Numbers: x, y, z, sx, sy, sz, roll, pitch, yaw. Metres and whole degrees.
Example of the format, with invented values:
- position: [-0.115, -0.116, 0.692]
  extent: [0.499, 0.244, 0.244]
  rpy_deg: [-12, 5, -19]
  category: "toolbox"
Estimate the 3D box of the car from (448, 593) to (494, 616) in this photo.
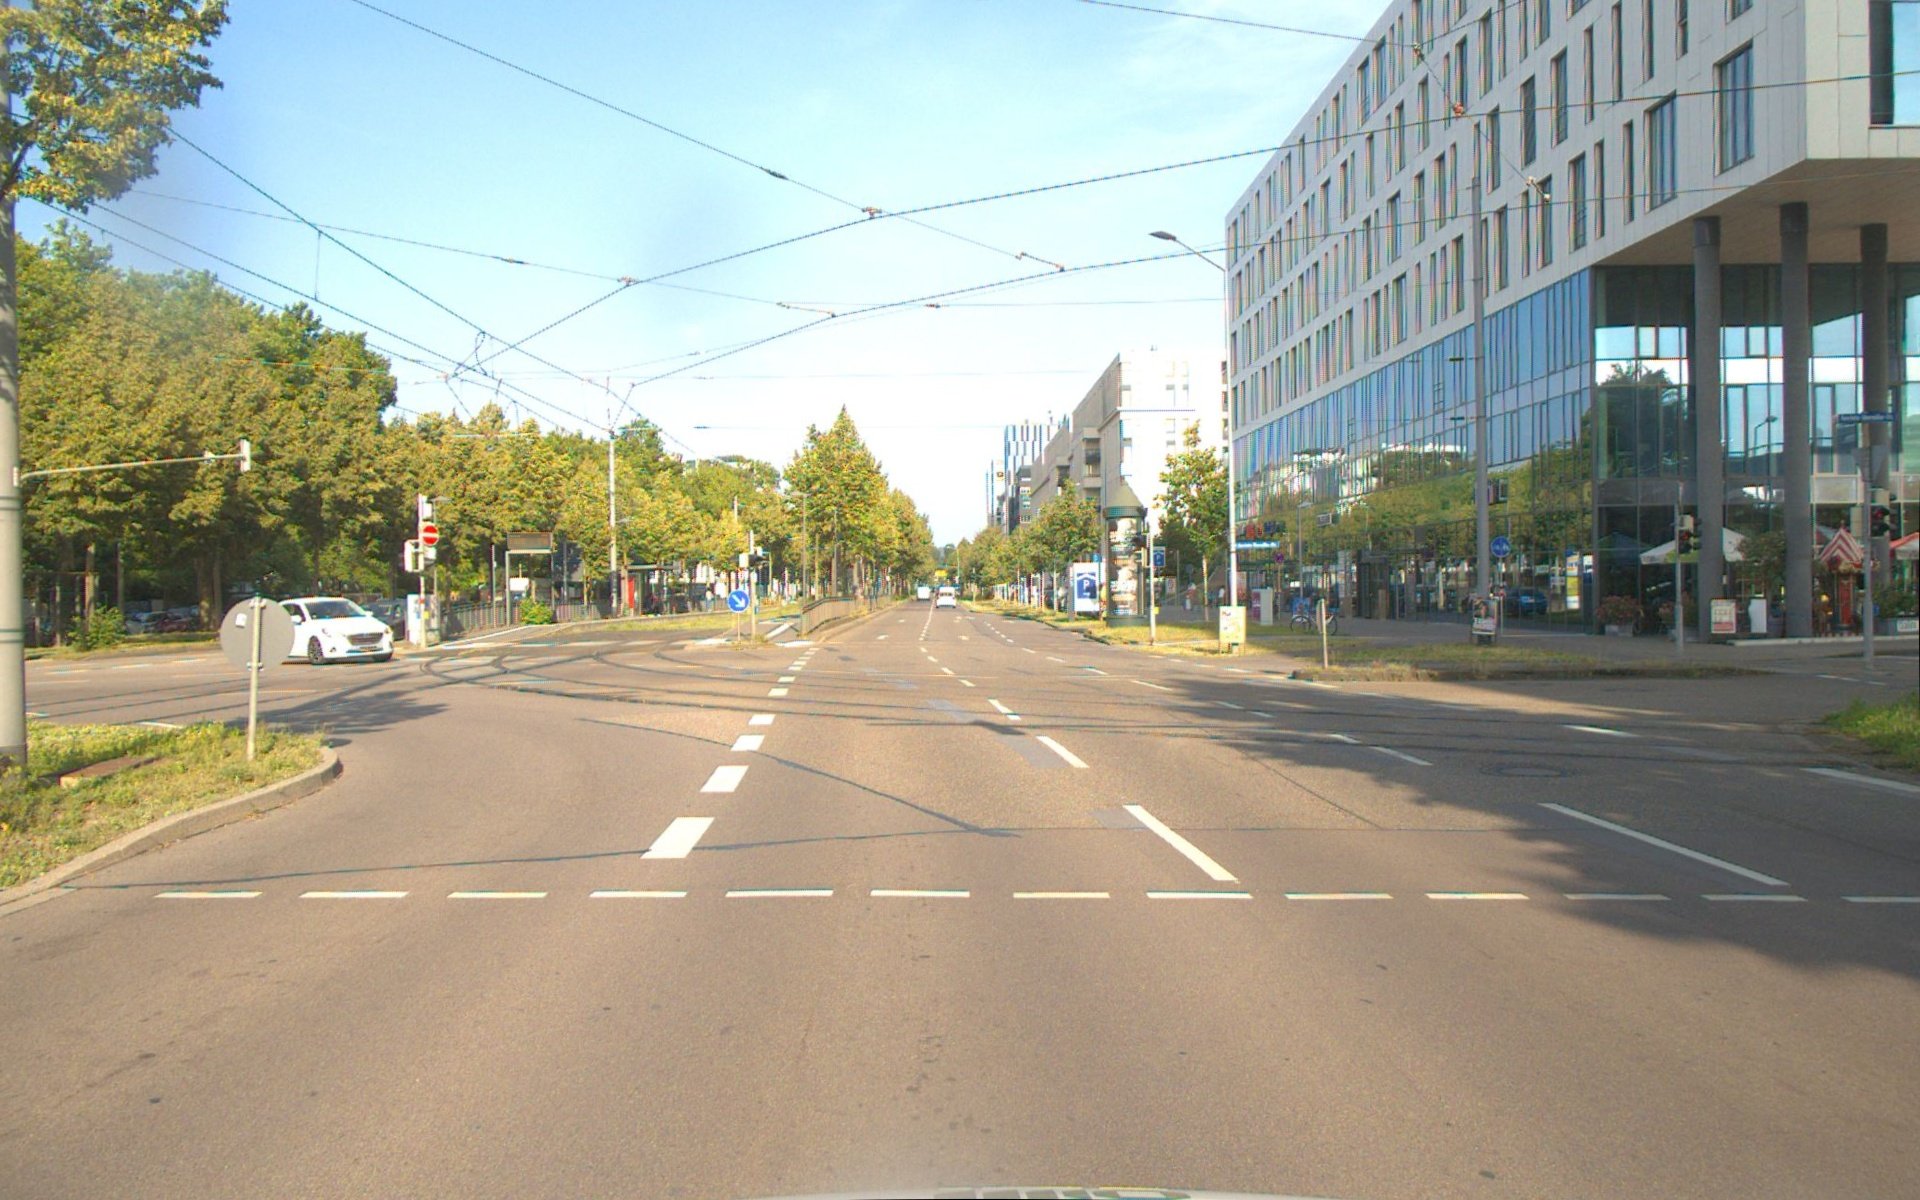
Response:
- position: [-35.623, 0.303, 120.614]
  extent: [1.841, 1.586, 4.002]
  rpy_deg: [-1, 0, 4]
  category: "car"

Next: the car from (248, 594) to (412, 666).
- position: [-14.394, 0.648, 37.697]
  extent: [4.024, 1.530, 1.986]
  rpy_deg: [1, 0, 44]
  category: "car"

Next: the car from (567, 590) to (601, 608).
- position: [-33.858, -0.114, 148.985]
  extent: [1.841, 1.586, 4.002]
  rpy_deg: [-1, 0, 4]
  category: "car"

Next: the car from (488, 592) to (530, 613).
- position: [-35.040, 0.195, 128.545]
  extent: [1.841, 1.586, 4.002]
  rpy_deg: [-1, 0, 4]
  category: "car"

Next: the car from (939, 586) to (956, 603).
- position: [-1.328, -0.578, 177.097]
  extent: [1.826, 1.713, 4.000]
  rpy_deg: [1, 1, 0]
  category: "car"

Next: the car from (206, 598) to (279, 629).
- position: [-38.130, 0.695, 87.990]
  extent: [1.841, 1.586, 4.002]
  rpy_deg: [-1, 0, 4]
  category: "car"

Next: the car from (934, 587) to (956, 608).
- position: [-1.291, -0.202, 143.267]
  extent: [1.826, 1.713, 4.000]
  rpy_deg: [1, 1, 0]
  category: "car"

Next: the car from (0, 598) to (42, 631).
- position: [-46.663, 0.699, 80.211]
  extent: [1.841, 1.586, 4.002]
  rpy_deg: [-1, 0, 4]
  category: "car"

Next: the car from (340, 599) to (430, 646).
- position: [-19.469, 0.797, 56.214]
  extent: [1.694, 1.487, 4.571]
  rpy_deg: [-1, -2, -3]
  category: "car"

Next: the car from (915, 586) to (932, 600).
- position: [-4.710, -0.924, 213.680]
  extent: [1.973, 1.713, 4.000]
  rpy_deg: [1, 1, 0]
  category: "car"

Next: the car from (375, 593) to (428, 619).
- position: [-36.454, 0.383, 108.120]
  extent: [1.841, 1.586, 4.002]
  rpy_deg: [-1, 0, 4]
  category: "car"

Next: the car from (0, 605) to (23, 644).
- position: [-39.334, 1.004, 65.578]
  extent: [1.841, 1.586, 4.002]
  rpy_deg: [-1, 0, 4]
  category: "car"

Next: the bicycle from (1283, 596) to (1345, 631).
- position: [11.369, 0.417, 53.143]
  extent: [0.768, 1.050, 1.848]
  rpy_deg: [-1, 3, -44]
  category: "bicycle"

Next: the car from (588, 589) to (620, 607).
- position: [-33.416, -0.201, 155.416]
  extent: [1.841, 1.586, 4.002]
  rpy_deg: [-1, 0, 4]
  category: "car"
